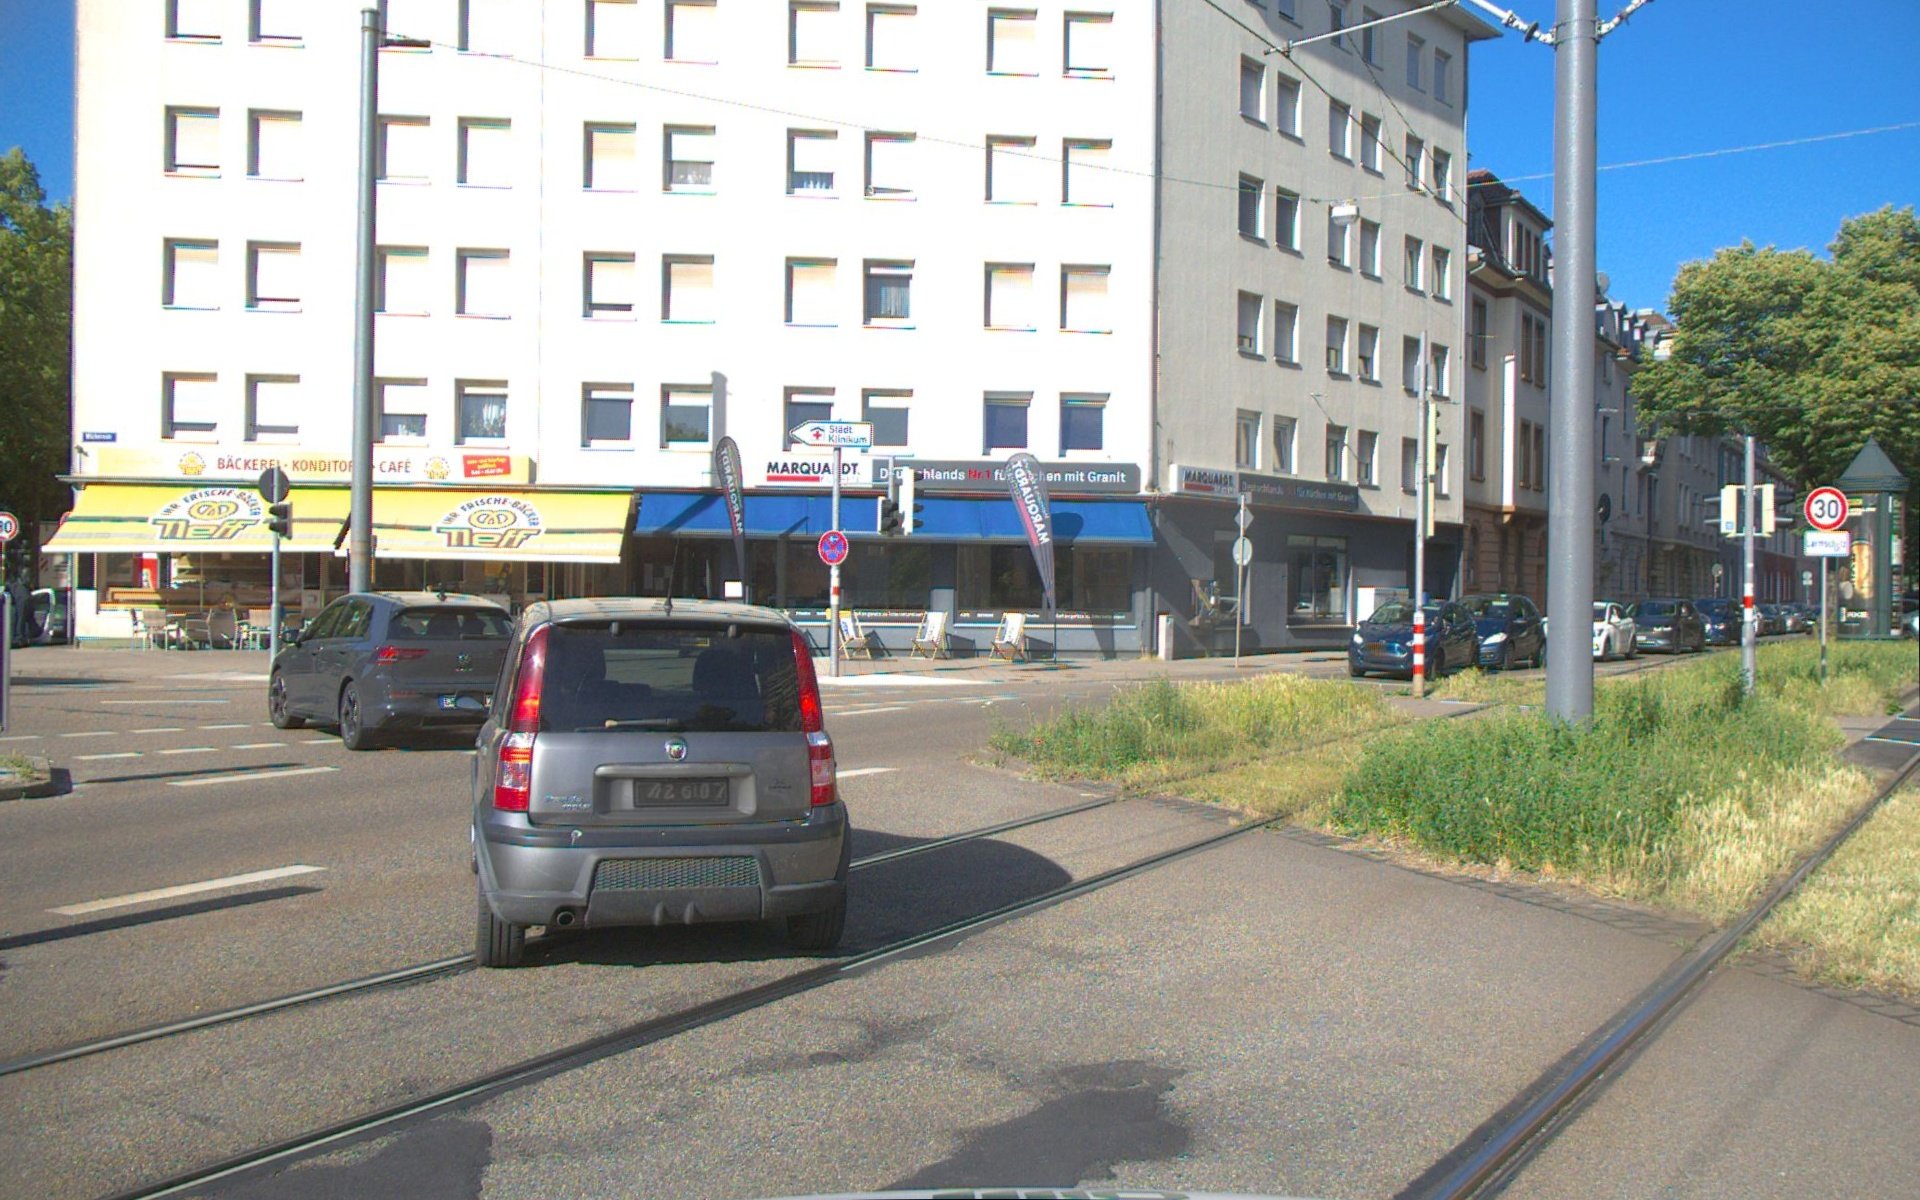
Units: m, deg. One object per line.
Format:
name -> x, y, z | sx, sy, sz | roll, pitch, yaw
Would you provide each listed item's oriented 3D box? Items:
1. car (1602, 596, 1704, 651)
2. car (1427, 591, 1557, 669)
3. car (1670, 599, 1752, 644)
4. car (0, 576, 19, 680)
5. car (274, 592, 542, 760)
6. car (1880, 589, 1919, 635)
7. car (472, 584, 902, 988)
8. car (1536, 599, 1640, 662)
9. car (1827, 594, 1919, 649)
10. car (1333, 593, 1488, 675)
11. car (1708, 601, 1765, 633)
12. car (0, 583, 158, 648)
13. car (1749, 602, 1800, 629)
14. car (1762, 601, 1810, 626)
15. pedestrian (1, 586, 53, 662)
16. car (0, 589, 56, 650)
car -> 20.293, 0.658, 48.376 | 1.959, 1.498, 3.986 | 1, 0, 35
car -> 11.690, 0.631, 36.210 | 1.759, 1.593, 3.755 | 1, 0, 34
car -> 26.298, 0.727, 57.859 | 1.959, 1.513, 3.986 | 1, 0, 35
car -> -16.019, 0.382, 24.637 | 4.203, 1.512, 1.761 | 1, 0, 33
car -> -5.588, 0.663, 16.502 | 1.607, 1.454, 3.644 | 0, 0, -34
car -> 39.585, 0.492, 66.910 | 1.827, 1.817, 3.758 | 1, 0, -44
car -> -1.505, 0.702, 8.102 | 1.634, 1.536, 3.235 | 1, 0, -18
car -> 16.002, 0.751, 42.062 | 1.759, 1.509, 3.521 | 1, 0, 34
car -> 28.786, 0.638, 50.554 | 1.872, 1.621, 3.986 | 0, 0, -14
car -> 8.564, 0.607, 31.267 | 1.759, 1.420, 3.714 | 1, 0, 34
car -> 36.042, 0.757, 76.718 | 1.958, 1.419, 3.990 | 1, 0, 32
car -> -22.421, 0.367, 42.251 | 1.896, 1.539, 3.939 | 1, 0, 0
car -> 44.247, 0.829, 89.828 | 1.959, 1.371, 3.987 | 1, 0, 34
car -> 47.605, 0.769, 95.292 | 1.959, 1.371, 3.987 | 1, 0, 34
pedestrian -> -20.429, 0.517, 36.229 | 0.778, 1.650, 0.826 | 0, 0, -15
car -> -22.005, 0.420, 36.503 | 1.953, 1.333, 3.999 | 1, 0, -1
